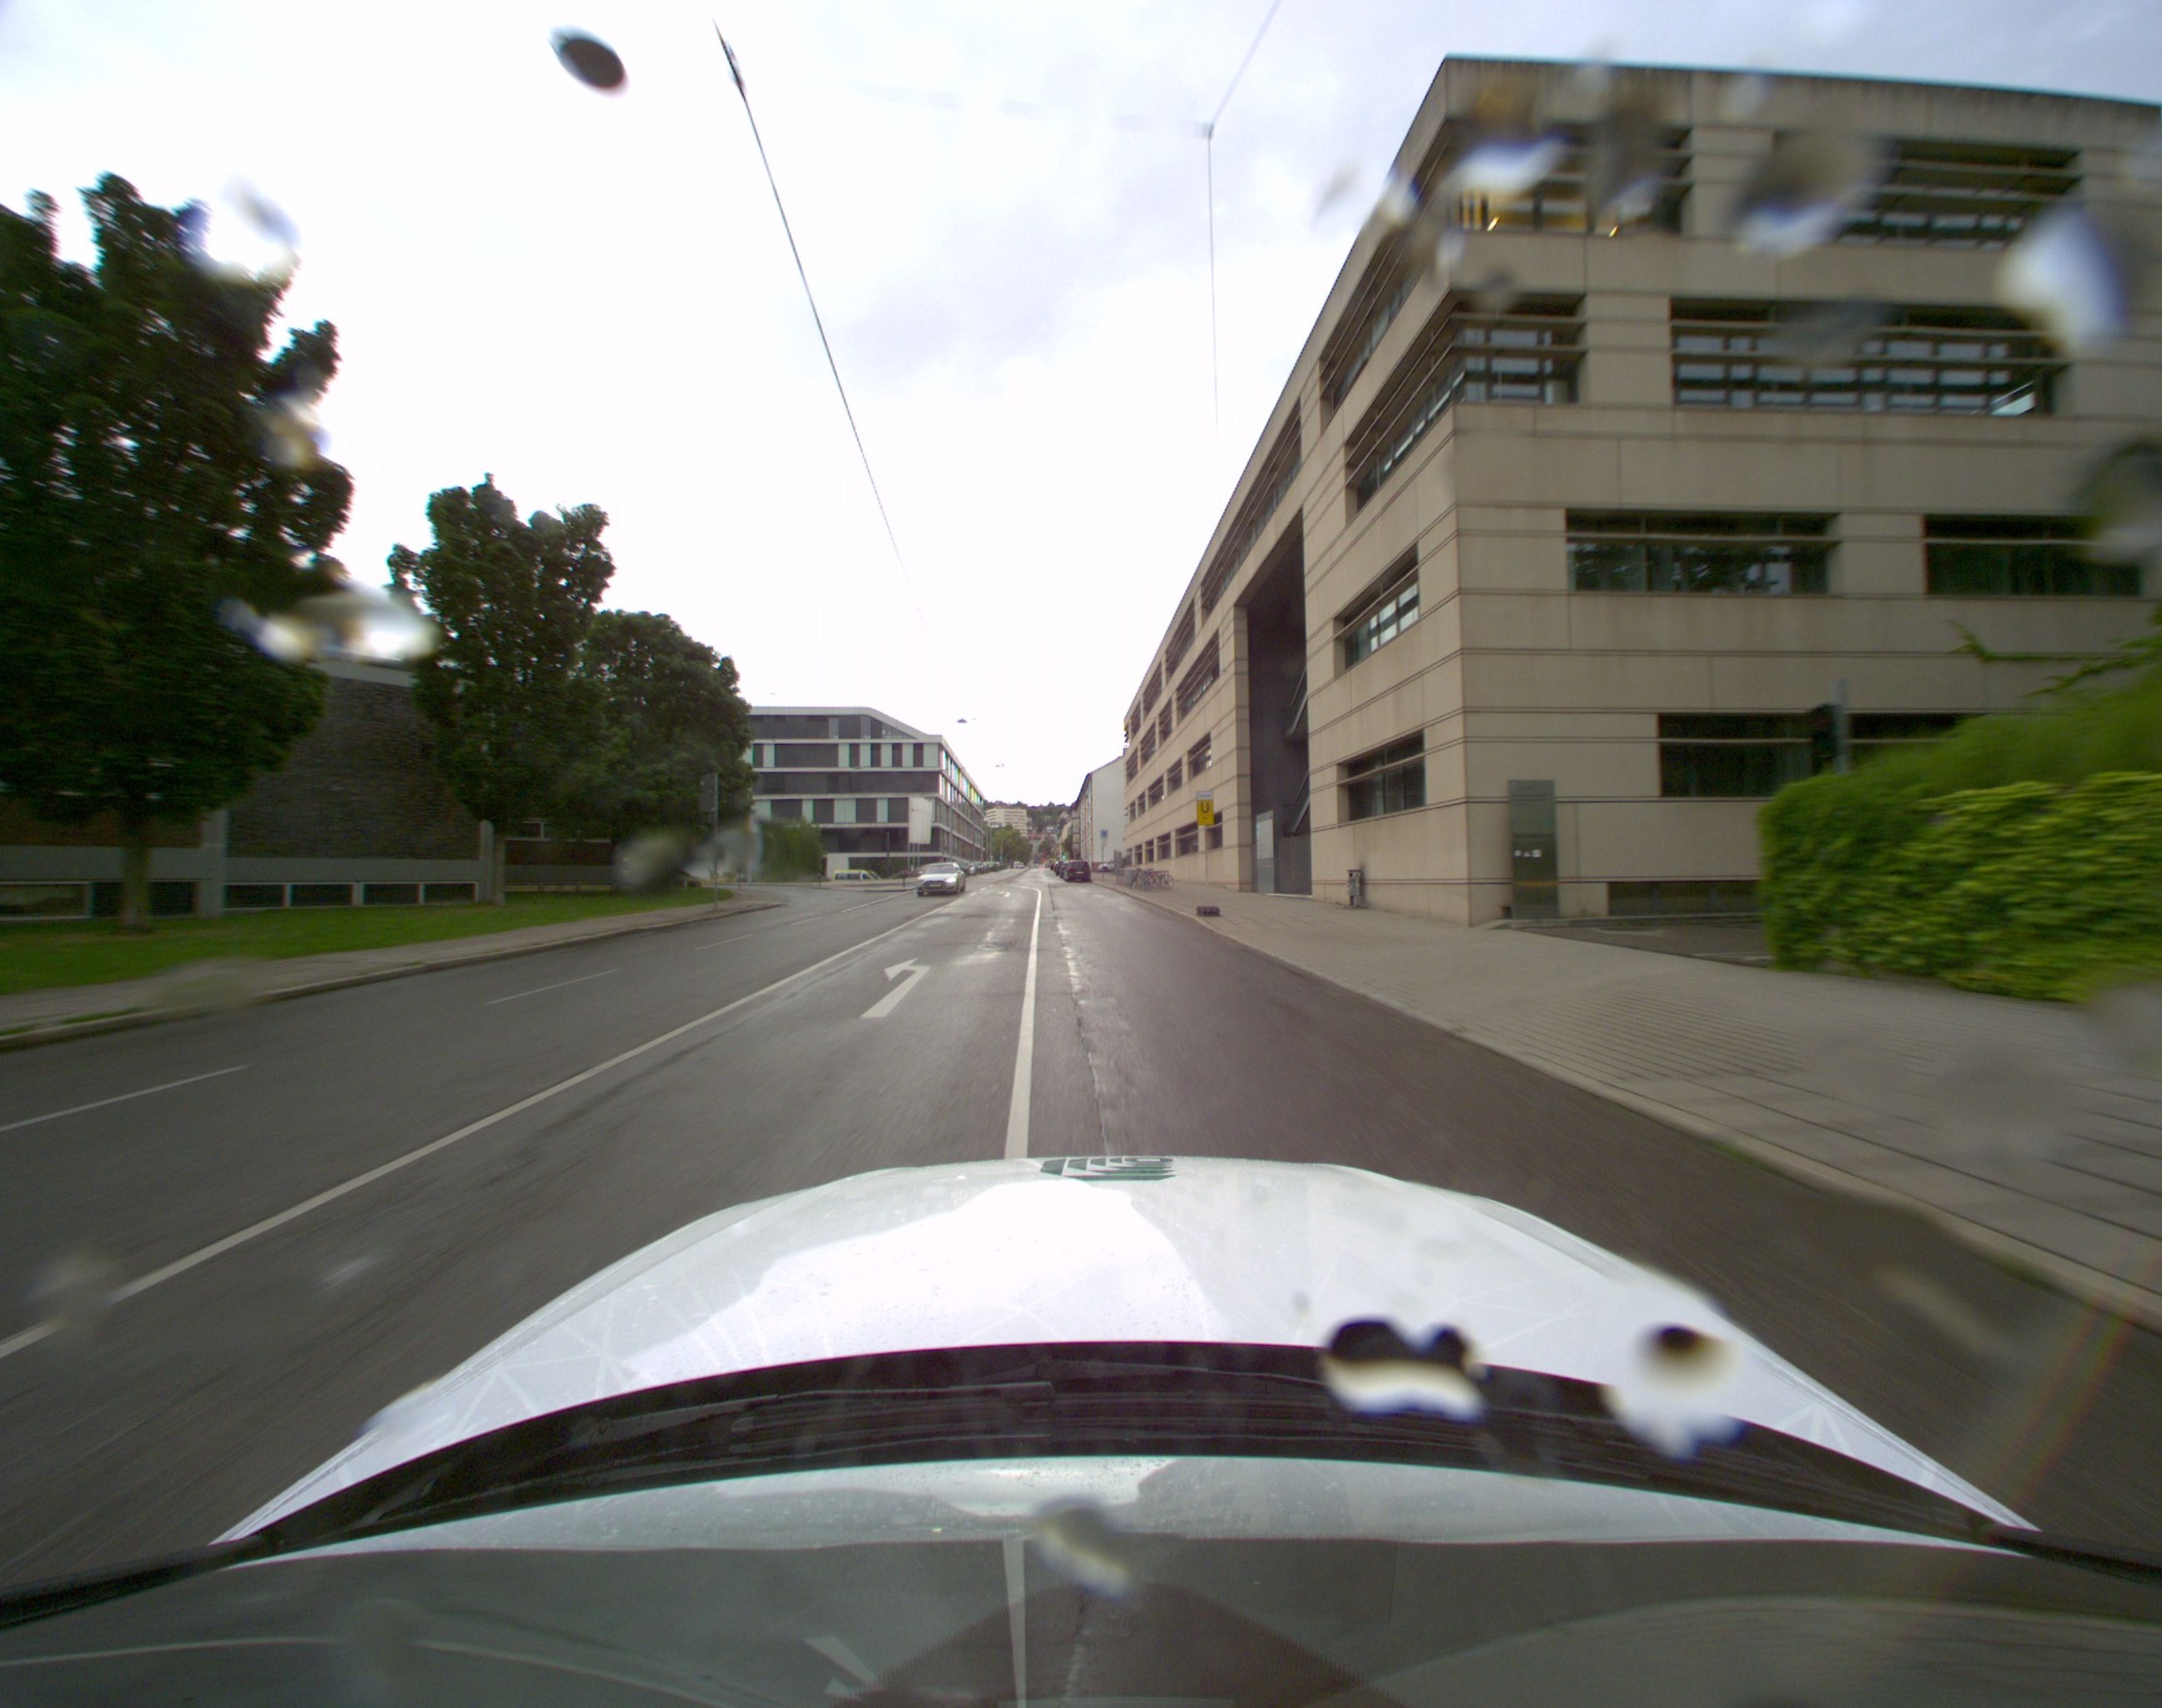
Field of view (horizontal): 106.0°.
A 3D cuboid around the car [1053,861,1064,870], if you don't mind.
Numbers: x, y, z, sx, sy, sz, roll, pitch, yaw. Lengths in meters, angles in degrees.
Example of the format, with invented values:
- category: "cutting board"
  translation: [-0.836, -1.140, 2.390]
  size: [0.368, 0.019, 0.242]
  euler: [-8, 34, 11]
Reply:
- category: "car"
  translation: [-3.592, 1.788, 128.982]
  size: [1.702, 1.454, 3.980]
  euler: [0, -1, -3]

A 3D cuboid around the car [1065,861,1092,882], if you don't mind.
- category: "car"
  translation: [-0.197, 1.317, 62.016]
  size: [1.768, 1.604, 4.387]
  euler: [0, -1, -4]

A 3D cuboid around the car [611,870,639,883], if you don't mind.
- category: "car"
  translation: [-50.262, 2.445, 89.718]
  size: [1.678, 1.450, 3.820]
  euler: [1, -2, -44]

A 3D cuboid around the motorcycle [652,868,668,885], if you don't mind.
- category: "motorcycle"
  translation: [-27.580, 1.465, 53.317]
  size: [1.155, 1.125, 0.415]
  euler: [-2, -2, 35]

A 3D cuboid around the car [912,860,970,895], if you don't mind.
- category: "car"
  translation: [-6.788, 1.086, 40.006]
  size: [1.876, 1.491, 5.218]
  euler: [-3, 0, 0]

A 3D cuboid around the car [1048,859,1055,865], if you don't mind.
- category: "car"
  translation: [-8.508, 2.321, 236.293]
  size: [1.861, 1.604, 4.188]
  euler: [0, -1, 0]

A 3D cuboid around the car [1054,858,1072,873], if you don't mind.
- category: "car"
  translation: [-2.151, 1.351, 94.439]
  size: [1.931, 1.750, 4.791]
  euler: [0, -1, -3]

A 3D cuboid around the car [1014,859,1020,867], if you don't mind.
- category: "car"
  translation: [-20.113, 2.960, 255.882]
  size: [2.102, 2.546, 4.742]
  euler: [0, -1, -5]

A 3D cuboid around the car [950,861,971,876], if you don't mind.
- category: "car"
  translation: [-13.162, 1.591, 89.367]
  size: [1.845, 1.617, 4.486]
  euler: [0, -1, -3]

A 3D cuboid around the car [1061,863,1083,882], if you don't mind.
- category: "car"
  translation: [-0.819, 1.616, 70.285]
  size: [1.722, 1.512, 4.052]
  euler: [1, -1, -3]

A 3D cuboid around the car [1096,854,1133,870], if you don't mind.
- category: "car"
  translation: [4.208, 0.984, 103.687]
  size: [4.429, 1.713, 1.902]
  euler: [-3, -1, -4]

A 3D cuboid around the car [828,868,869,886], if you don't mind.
- category: "car"
  translation: [-28.706, 2.783, 100.577]
  size: [4.589, 2.174, 1.925]
  euler: [0, -1, -9]

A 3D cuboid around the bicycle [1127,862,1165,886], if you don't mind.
- category: "bicycle"
  translation: [3.136, 0.978, 39.339]
  size: [1.728, 1.119, 0.658]
  euler: [-1, -1, -9]

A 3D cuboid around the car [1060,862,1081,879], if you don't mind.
- category: "car"
  translation: [-0.997, 1.585, 77.592]
  size: [1.740, 1.533, 4.312]
  euler: [0, -1, -4]

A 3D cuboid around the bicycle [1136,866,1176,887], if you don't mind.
- category: "bicycle"
  translation: [3.536, 1.049, 38.382]
  size: [1.756, 0.953, 0.658]
  euler: [-1, -1, -7]

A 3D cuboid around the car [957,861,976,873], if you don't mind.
- category: "car"
  translation: [-13.446, 1.549, 95.908]
  size: [1.817, 1.419, 4.397]
  euler: [0, -1, -3]

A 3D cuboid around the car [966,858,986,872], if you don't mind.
- category: "car"
  translation: [-13.682, 1.480, 106.048]
  size: [1.957, 1.750, 4.940]
  euler: [0, -1, -1]

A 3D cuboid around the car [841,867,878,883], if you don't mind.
- category: "car"
  translation: [-28.501, 2.715, 104.674]
  size: [4.332, 2.032, 1.596]
  euler: [0, -1, -4]

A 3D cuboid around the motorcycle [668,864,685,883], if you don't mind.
- category: "motorcycle"
  translation: [-25.819, 1.223, 51.980]
  size: [1.211, 1.185, 0.415]
  euler: [-1, -2, 34]

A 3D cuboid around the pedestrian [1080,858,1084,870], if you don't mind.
- category: "pedestrian"
  translation: [0.147, 1.539, 124.689]
  size: [0.637, 1.870, 0.538]
  euler: [0, -1, -1]
